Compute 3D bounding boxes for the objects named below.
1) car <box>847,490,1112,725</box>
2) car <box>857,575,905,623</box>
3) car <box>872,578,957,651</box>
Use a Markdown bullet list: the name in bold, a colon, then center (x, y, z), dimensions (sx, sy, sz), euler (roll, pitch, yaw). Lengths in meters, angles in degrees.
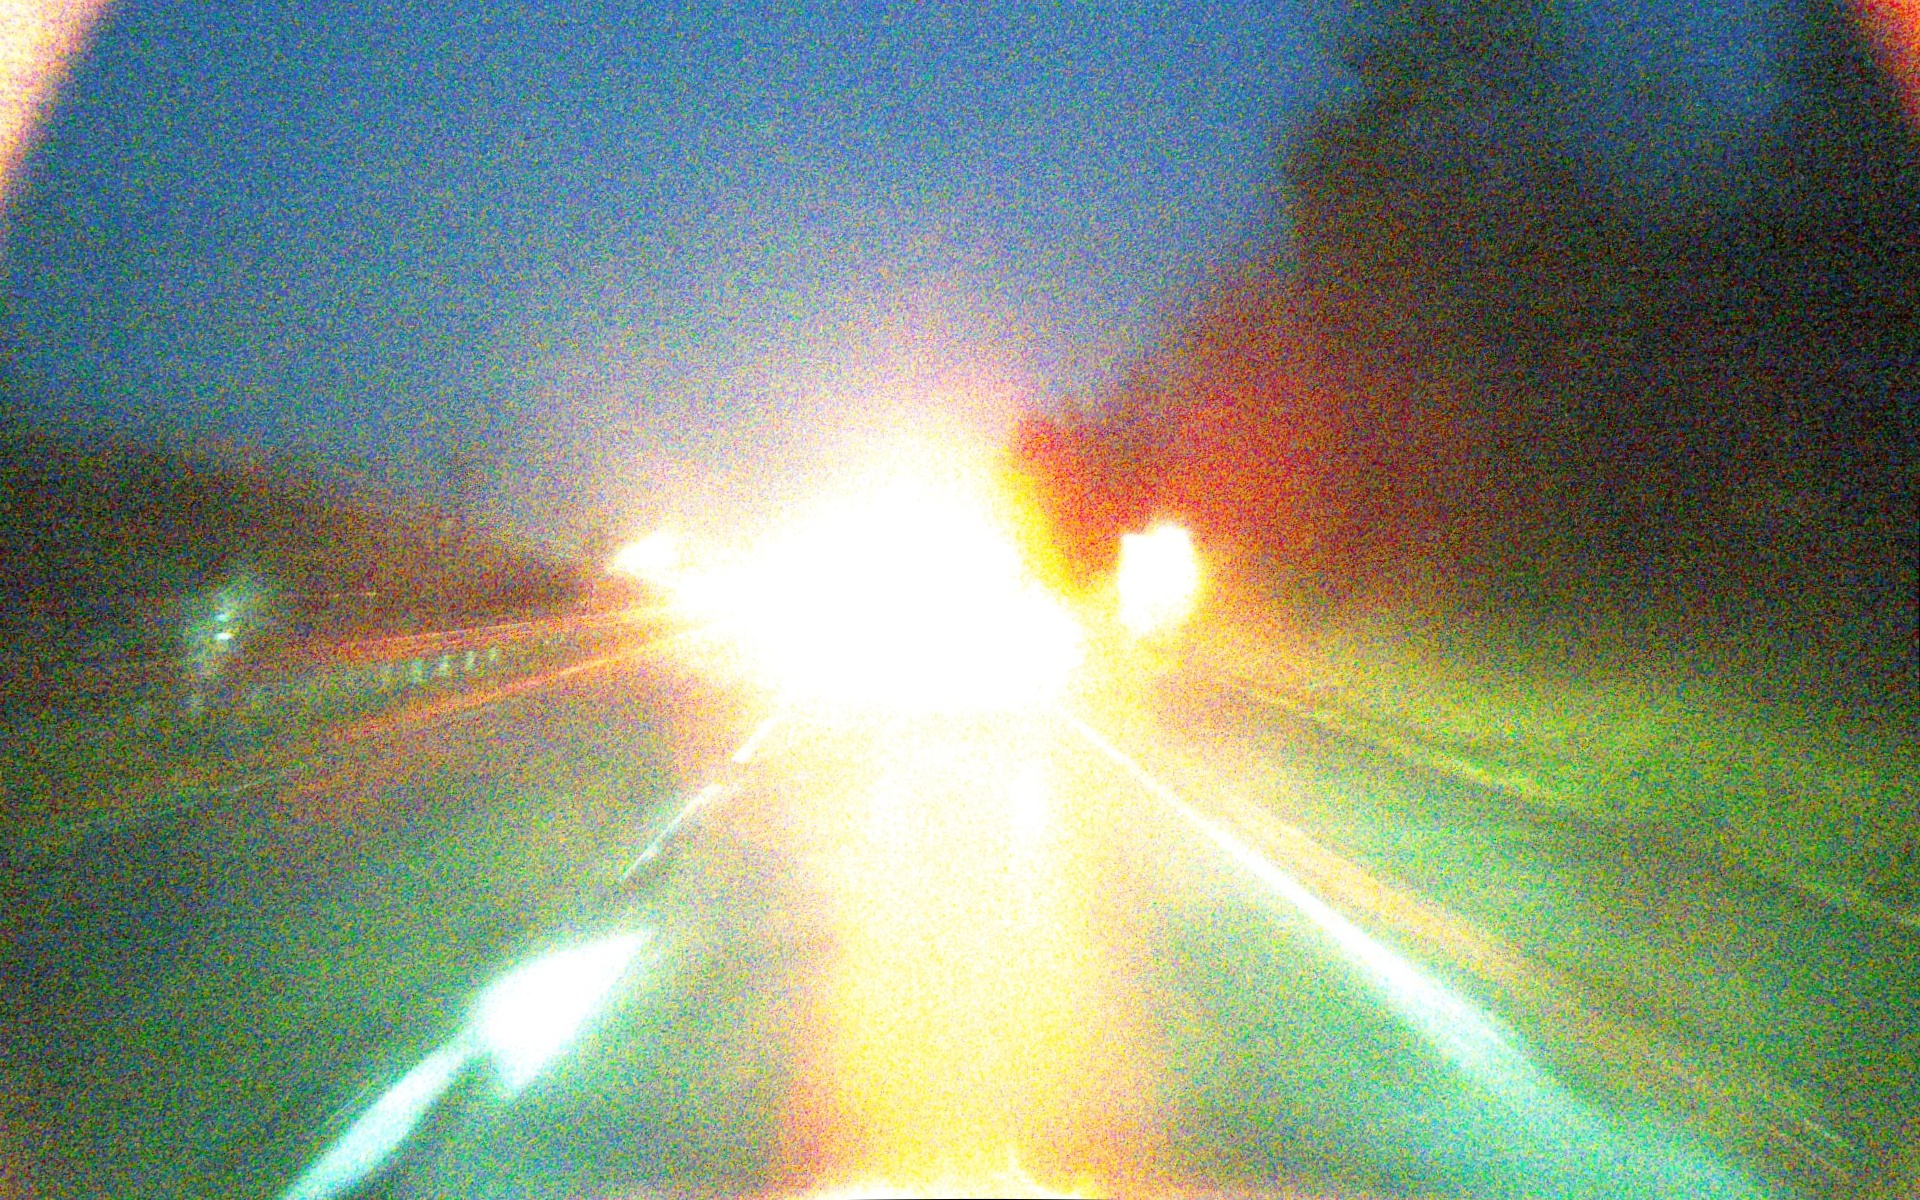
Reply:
- **car**: center (0.134, 0.040, 19.755), dimensions (2.660, 2.348, 6.099), euler (1, 1, -1)
- **car**: center (-3.329, -0.057, 70.326), dimensions (1.953, 1.948, 3.999), euler (1, 0, -2)
- **car**: center (-1.159, 0.304, 39.912), dimensions (1.842, 1.608, 4.781), euler (1, 0, -4)
